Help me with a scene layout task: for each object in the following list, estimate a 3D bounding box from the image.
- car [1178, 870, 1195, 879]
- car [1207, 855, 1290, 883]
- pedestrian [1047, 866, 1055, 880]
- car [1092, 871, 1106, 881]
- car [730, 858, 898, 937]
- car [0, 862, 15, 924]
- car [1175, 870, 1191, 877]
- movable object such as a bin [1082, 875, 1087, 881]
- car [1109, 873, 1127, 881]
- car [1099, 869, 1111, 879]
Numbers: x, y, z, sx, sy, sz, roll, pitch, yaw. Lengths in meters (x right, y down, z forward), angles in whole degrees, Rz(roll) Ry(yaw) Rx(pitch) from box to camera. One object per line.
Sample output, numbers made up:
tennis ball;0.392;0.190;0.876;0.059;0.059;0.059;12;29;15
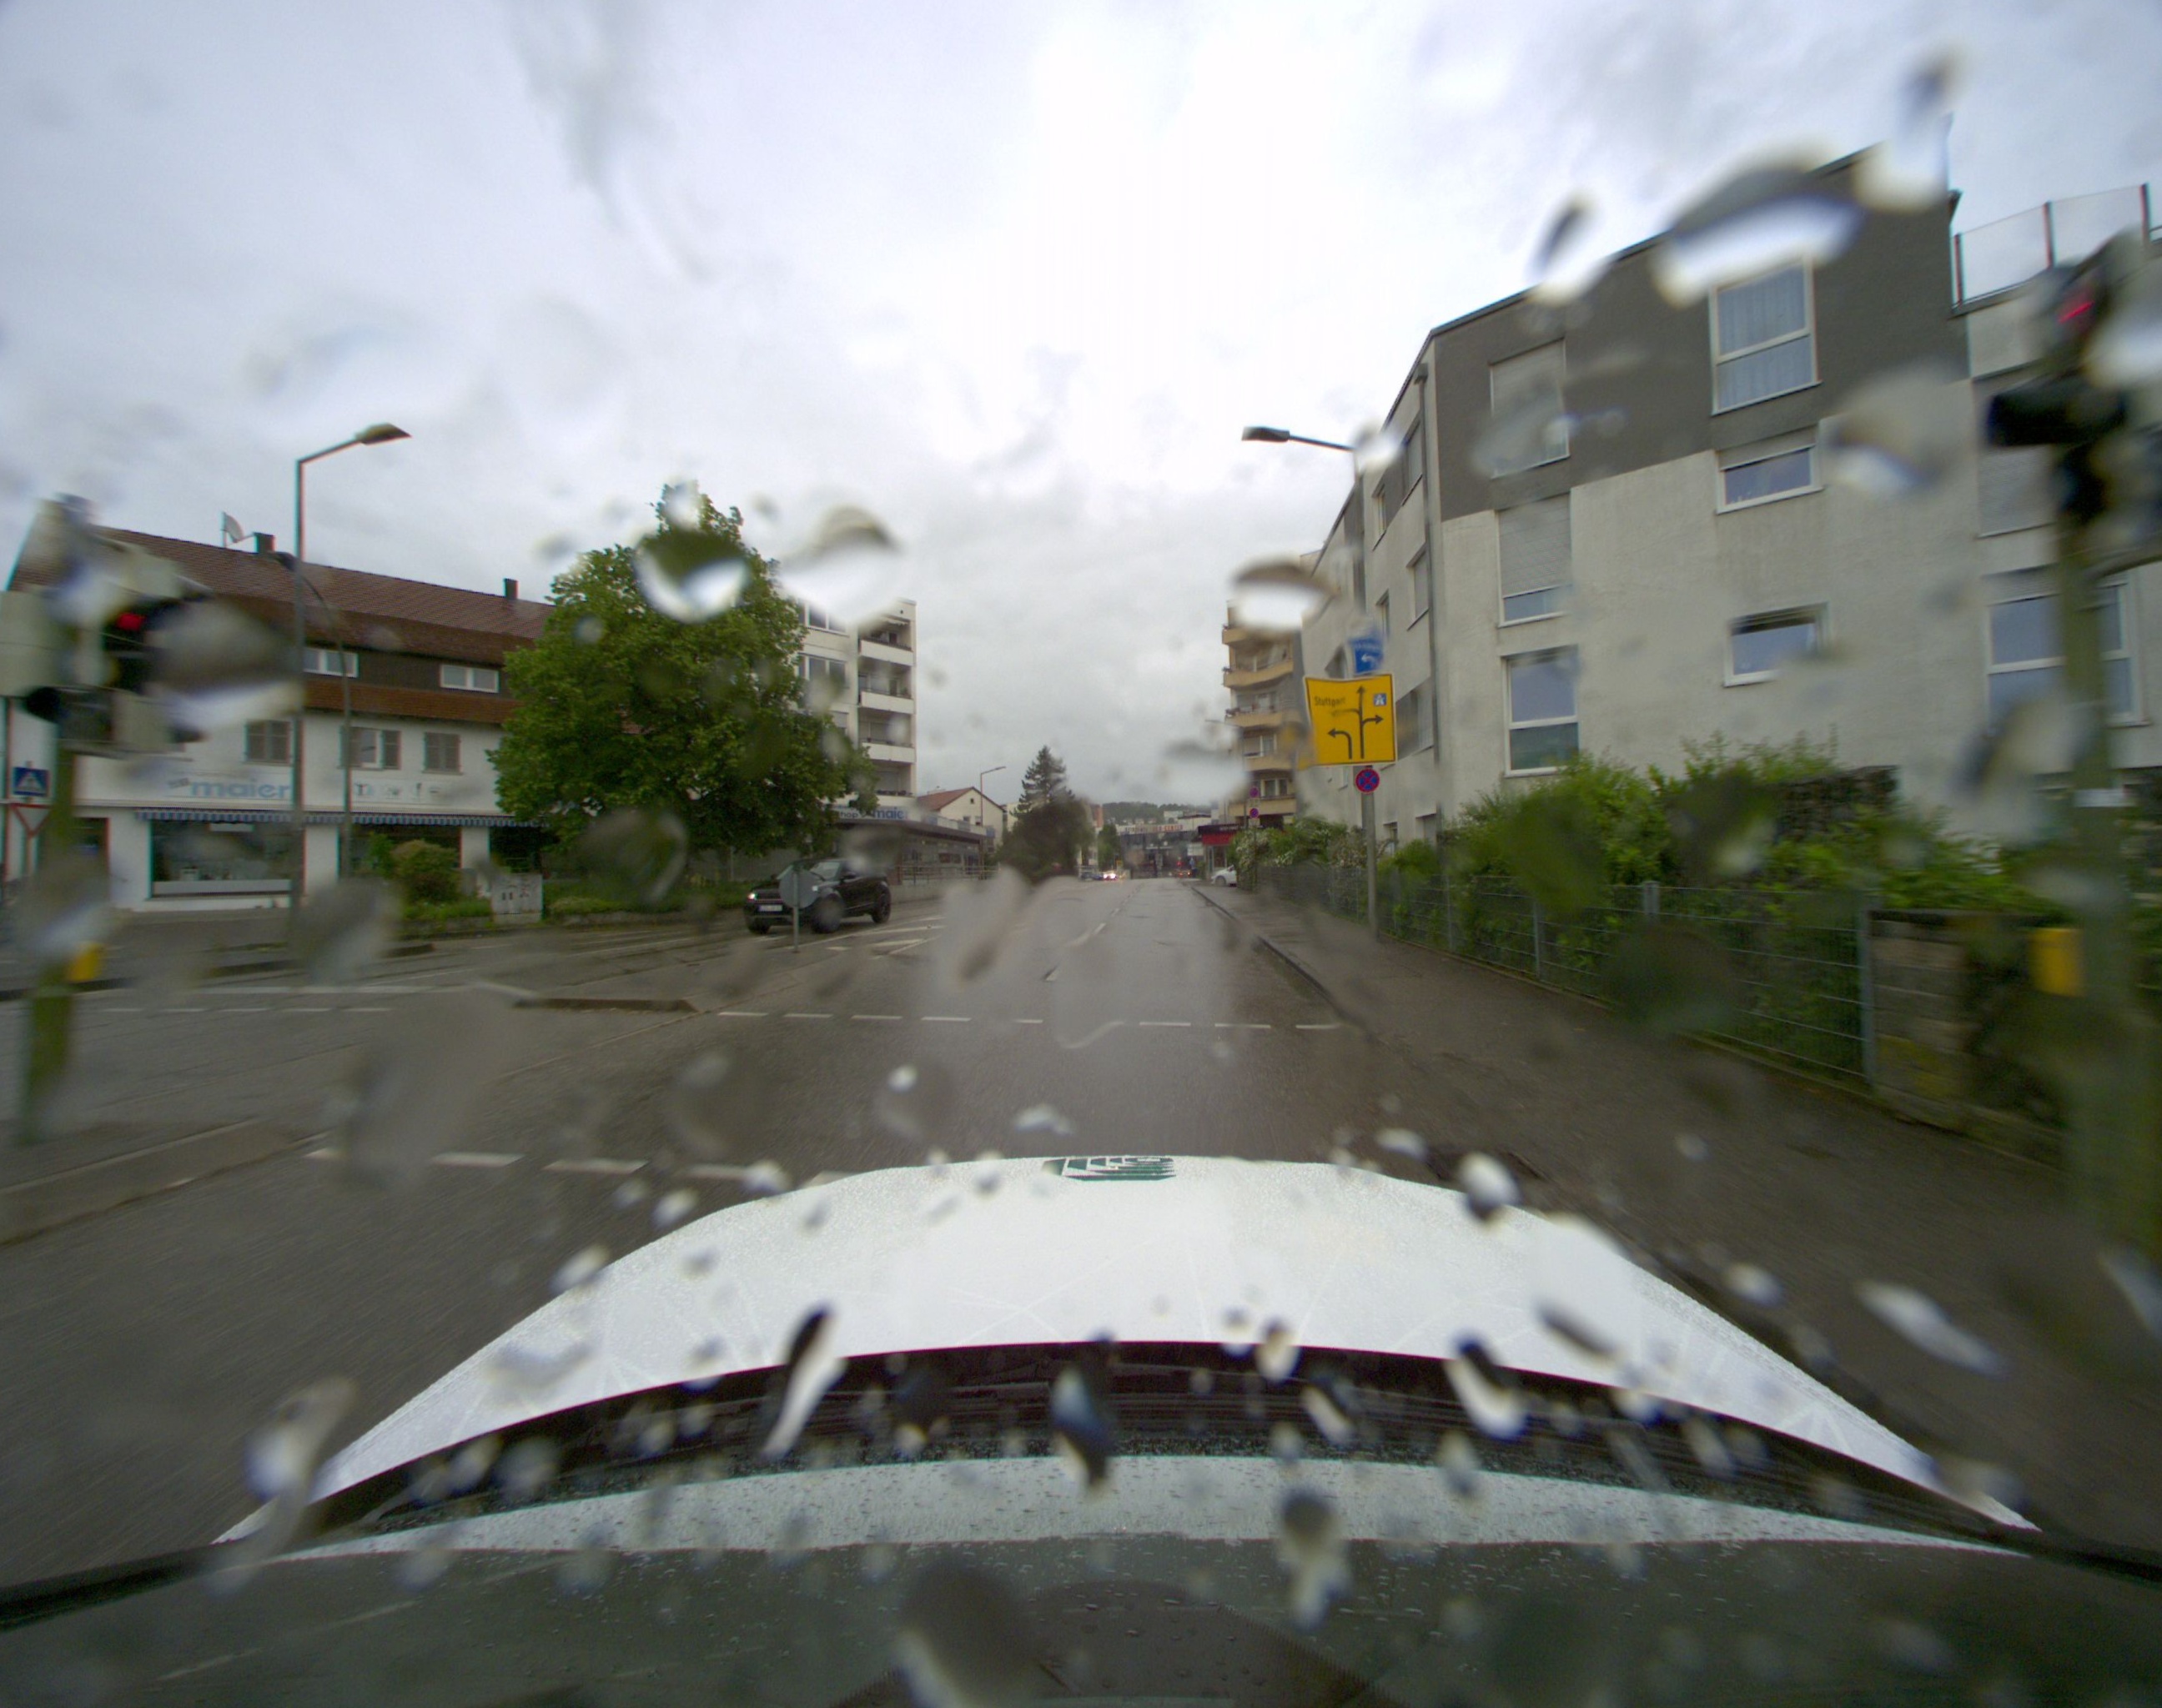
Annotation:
car;18.313;3.528;141.115;1.977;1.534;4.667;-1;-3;18
car;9.590;0.876;46.752;4.216;1.494;1.885;-1;1;34
pedestrian;-3.397;2.137;92.552;0.866;1.607;1.103;-1;-2;-1
car;3.064;3.752;138.401;1.642;1.521;4.334;-1;-2;9
car;-5.891;0.898;18.595;1.791;1.557;4.330;-1;0;10
car;-34.586;1.181;22.565;5.886;1.842;1.975;-1;0;-44
car;20.141;3.873;160.411;1.787;1.419;4.024;-2;-2;28
movable object such as a bin;0.549;3.927;134.450;0.644;0.966;0.684;-2;-2;8
car;8.634;5.396;190.819;2.005;1.512;4.392;2;0;-29
car;3.831;3.089;128.061;1.690;1.409;4.004;-4;0;4
